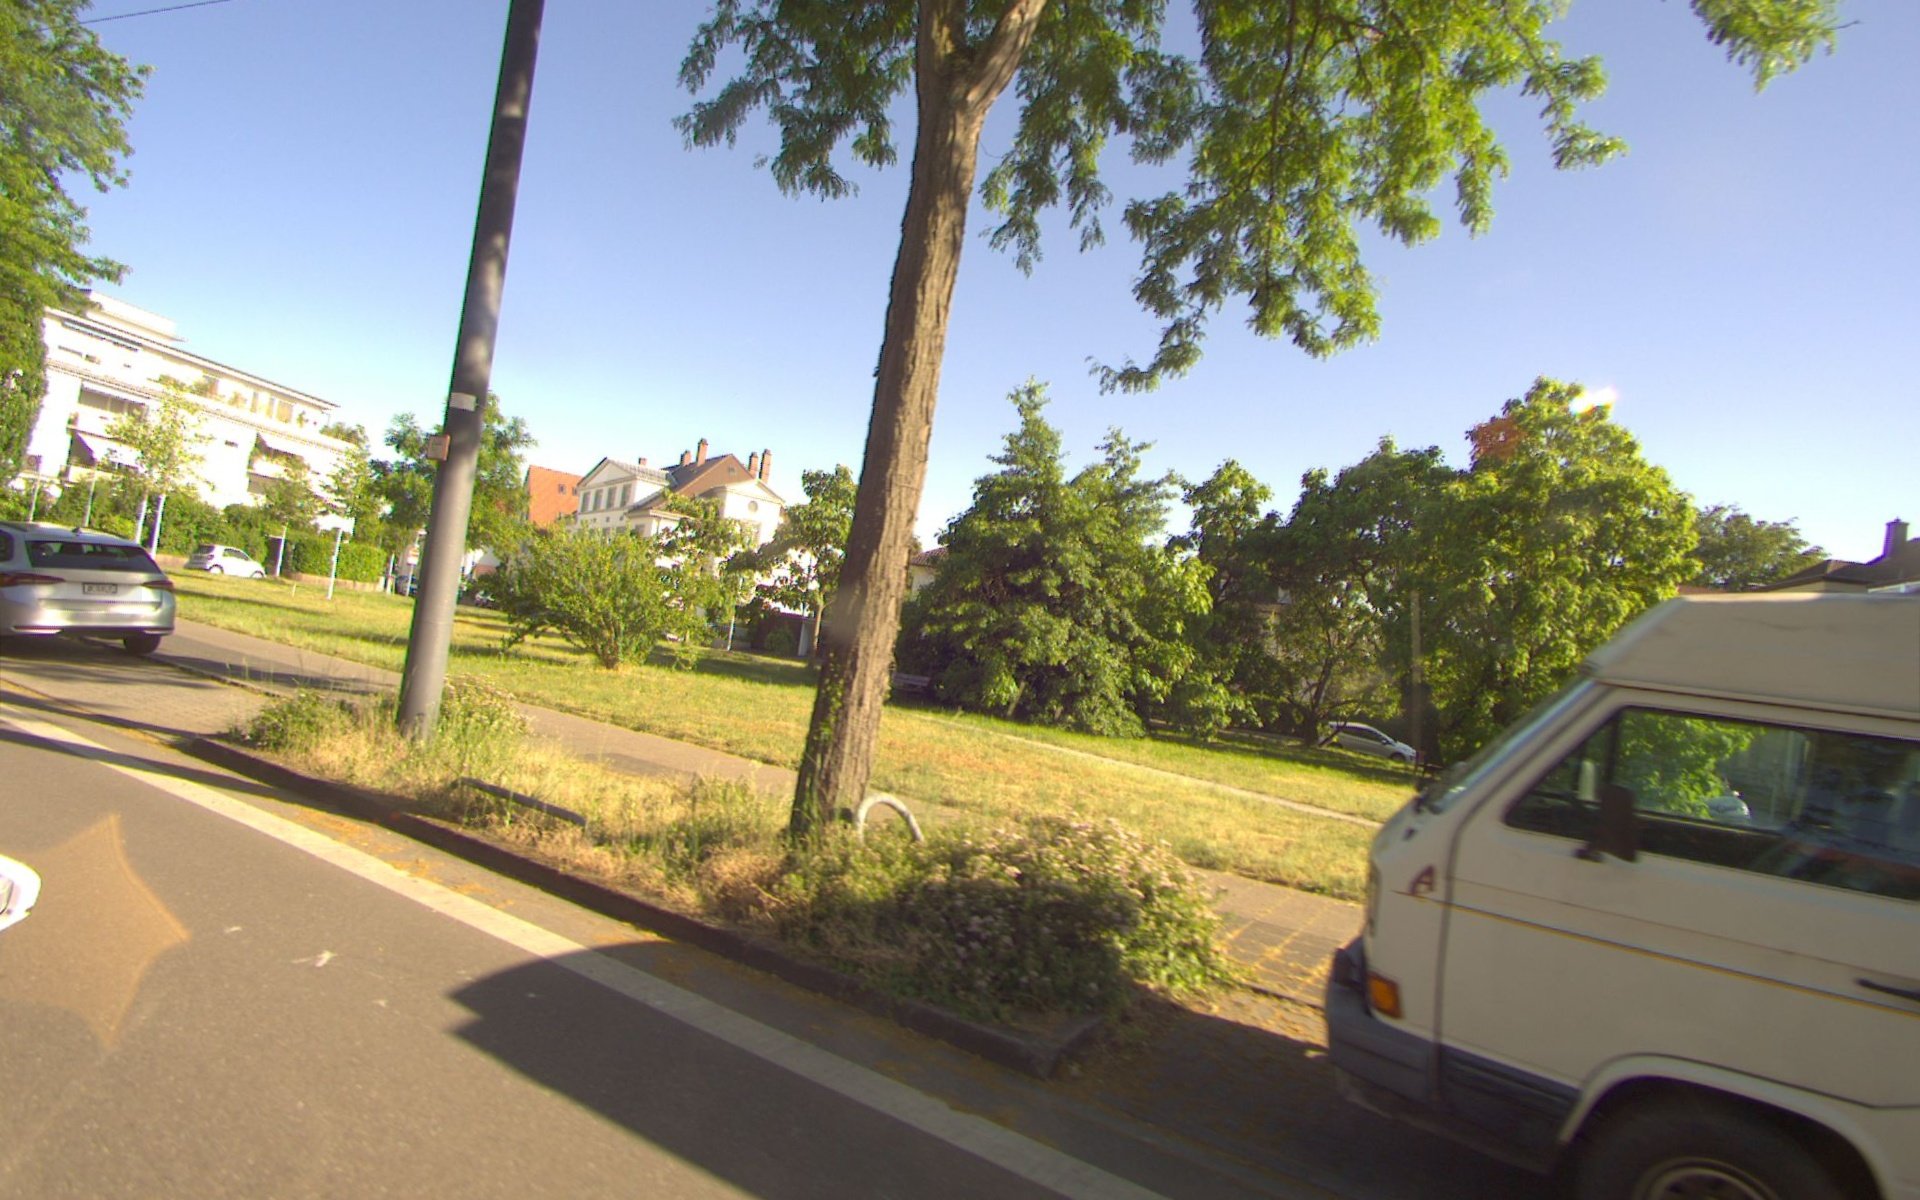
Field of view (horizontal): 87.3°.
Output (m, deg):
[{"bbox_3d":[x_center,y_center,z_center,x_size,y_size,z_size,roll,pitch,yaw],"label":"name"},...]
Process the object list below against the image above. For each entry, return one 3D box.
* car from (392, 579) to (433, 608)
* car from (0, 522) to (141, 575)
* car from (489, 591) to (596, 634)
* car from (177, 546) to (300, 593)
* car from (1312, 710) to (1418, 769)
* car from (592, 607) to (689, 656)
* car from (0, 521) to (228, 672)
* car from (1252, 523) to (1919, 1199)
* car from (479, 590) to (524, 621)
[{"bbox_3d":[-40.581,-0.471,74.514,2.036,1.726,4.249,10,-4,-35],"label":"car"},{"bbox_3d":[-35.402,-2.040,39.612,1.931,1.384,4.534,7,-3,14],"label":"car"},{"bbox_3d":[-21.796,0.650,52.610,4.665,1.487,2.069,7,-3,12],"label":"car"},{"bbox_3d":[-33.449,-1.381,46.790,1.806,1.526,4.301,4,-4,19],"label":"car"},{"bbox_3d":[17.318,5.941,43.210,3.925,1.816,2.003,7,-3,18],"label":"car"},{"bbox_3d":[-15.924,1.570,50.209,3.924,1.799,2.004,7,-3,15],"label":"car"},{"bbox_3d":[-11.660,-0.170,12.585,5.341,1.483,2.003,6,0,30],"label":"car"},{"bbox_3d":[3.565,1.138,3.018,4.636,2.119,1.999,7,-3,30],"label":"car"},{"bbox_3d":[-34.302,0.393,75.196,1.985,1.804,4.558,10,-4,-37],"label":"car"}]
